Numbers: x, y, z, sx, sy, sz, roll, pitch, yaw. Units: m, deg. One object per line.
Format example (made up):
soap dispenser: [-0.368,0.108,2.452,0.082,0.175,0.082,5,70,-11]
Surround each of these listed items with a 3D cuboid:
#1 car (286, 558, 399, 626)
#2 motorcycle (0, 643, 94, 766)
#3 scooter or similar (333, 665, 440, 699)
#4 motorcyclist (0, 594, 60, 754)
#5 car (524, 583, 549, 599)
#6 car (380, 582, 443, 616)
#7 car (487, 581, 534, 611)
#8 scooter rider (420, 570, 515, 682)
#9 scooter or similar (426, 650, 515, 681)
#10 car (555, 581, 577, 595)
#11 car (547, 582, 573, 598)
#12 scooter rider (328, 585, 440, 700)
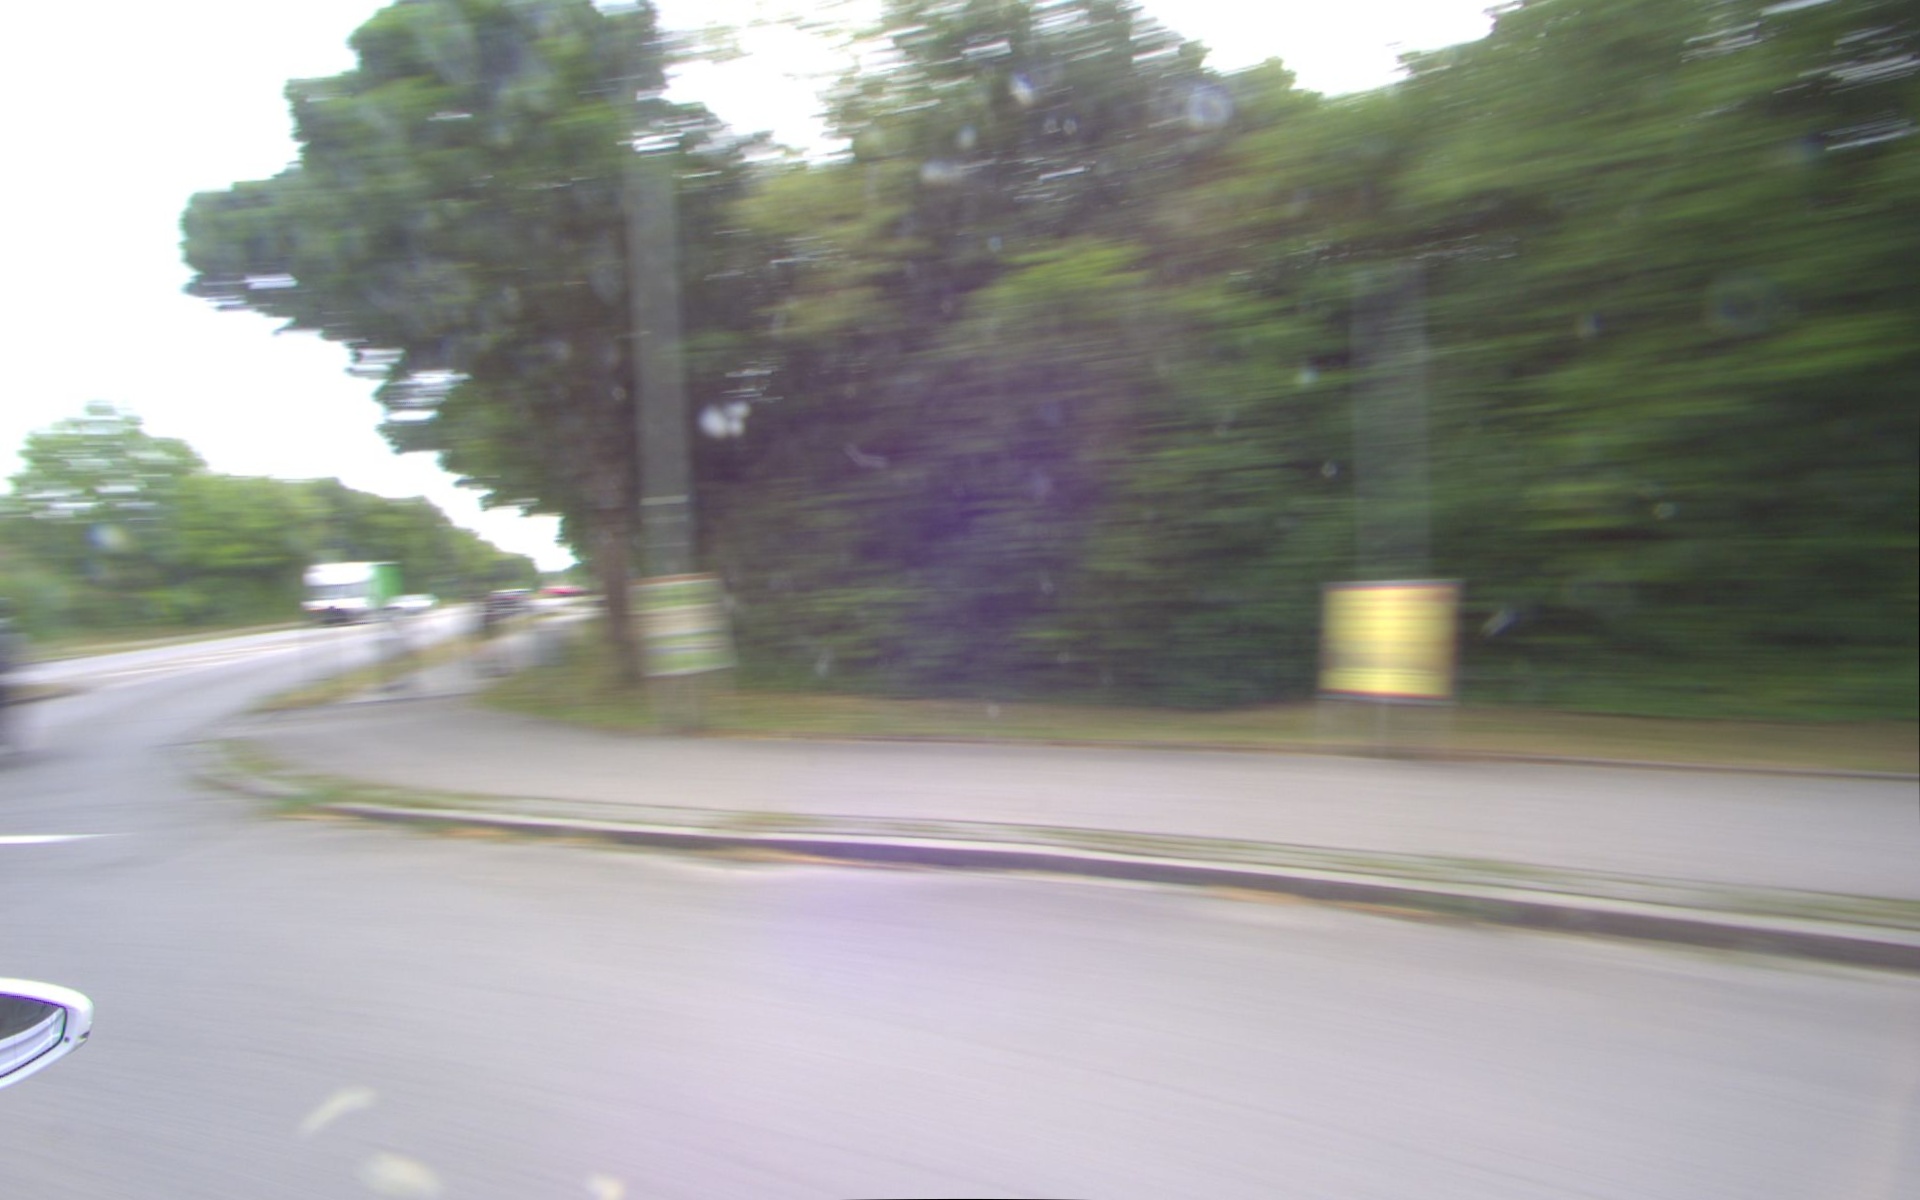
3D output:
car: [-32.938,-0.476,53.776,3.124,3.248,7.615,-3,2,-17]
motorcycle: [-10.461,1.144,10.546,0.883,1.174,2.615,-2,2,-14]
scooter or similar: [-9.060,1.288,15.883,1.079,0.369,1.227,-2,2,-9]
motorcyclist: [-10.495,0.785,10.626,0.848,1.646,1.188,-2,2,-14]
car: [-57.711,-1.278,136.487,2.477,1.974,5.698,-3,2,-17]
car: [-38.448,-0.110,70.376,2.641,2.203,5.984,-3,2,-18]
car: [-32.031,-0.321,71.581,2.478,1.974,5.696,-3,2,-19]
scooter rider: [-9.057,0.445,18.495,1.203,1.936,1.126,-4,3,-12]
scooter or similar: [-9.019,1.205,18.512,1.203,0.385,1.126,-4,2,-12]
car: [-57.671,-1.731,146.587,2.477,1.974,5.698,-3,2,-17]
car: [-51.186,-1.285,128.295,2.477,1.974,5.698,-3,2,-17]
scooter rider: [-9.081,0.633,15.862,1.079,1.695,1.243,-2,2,-8]
